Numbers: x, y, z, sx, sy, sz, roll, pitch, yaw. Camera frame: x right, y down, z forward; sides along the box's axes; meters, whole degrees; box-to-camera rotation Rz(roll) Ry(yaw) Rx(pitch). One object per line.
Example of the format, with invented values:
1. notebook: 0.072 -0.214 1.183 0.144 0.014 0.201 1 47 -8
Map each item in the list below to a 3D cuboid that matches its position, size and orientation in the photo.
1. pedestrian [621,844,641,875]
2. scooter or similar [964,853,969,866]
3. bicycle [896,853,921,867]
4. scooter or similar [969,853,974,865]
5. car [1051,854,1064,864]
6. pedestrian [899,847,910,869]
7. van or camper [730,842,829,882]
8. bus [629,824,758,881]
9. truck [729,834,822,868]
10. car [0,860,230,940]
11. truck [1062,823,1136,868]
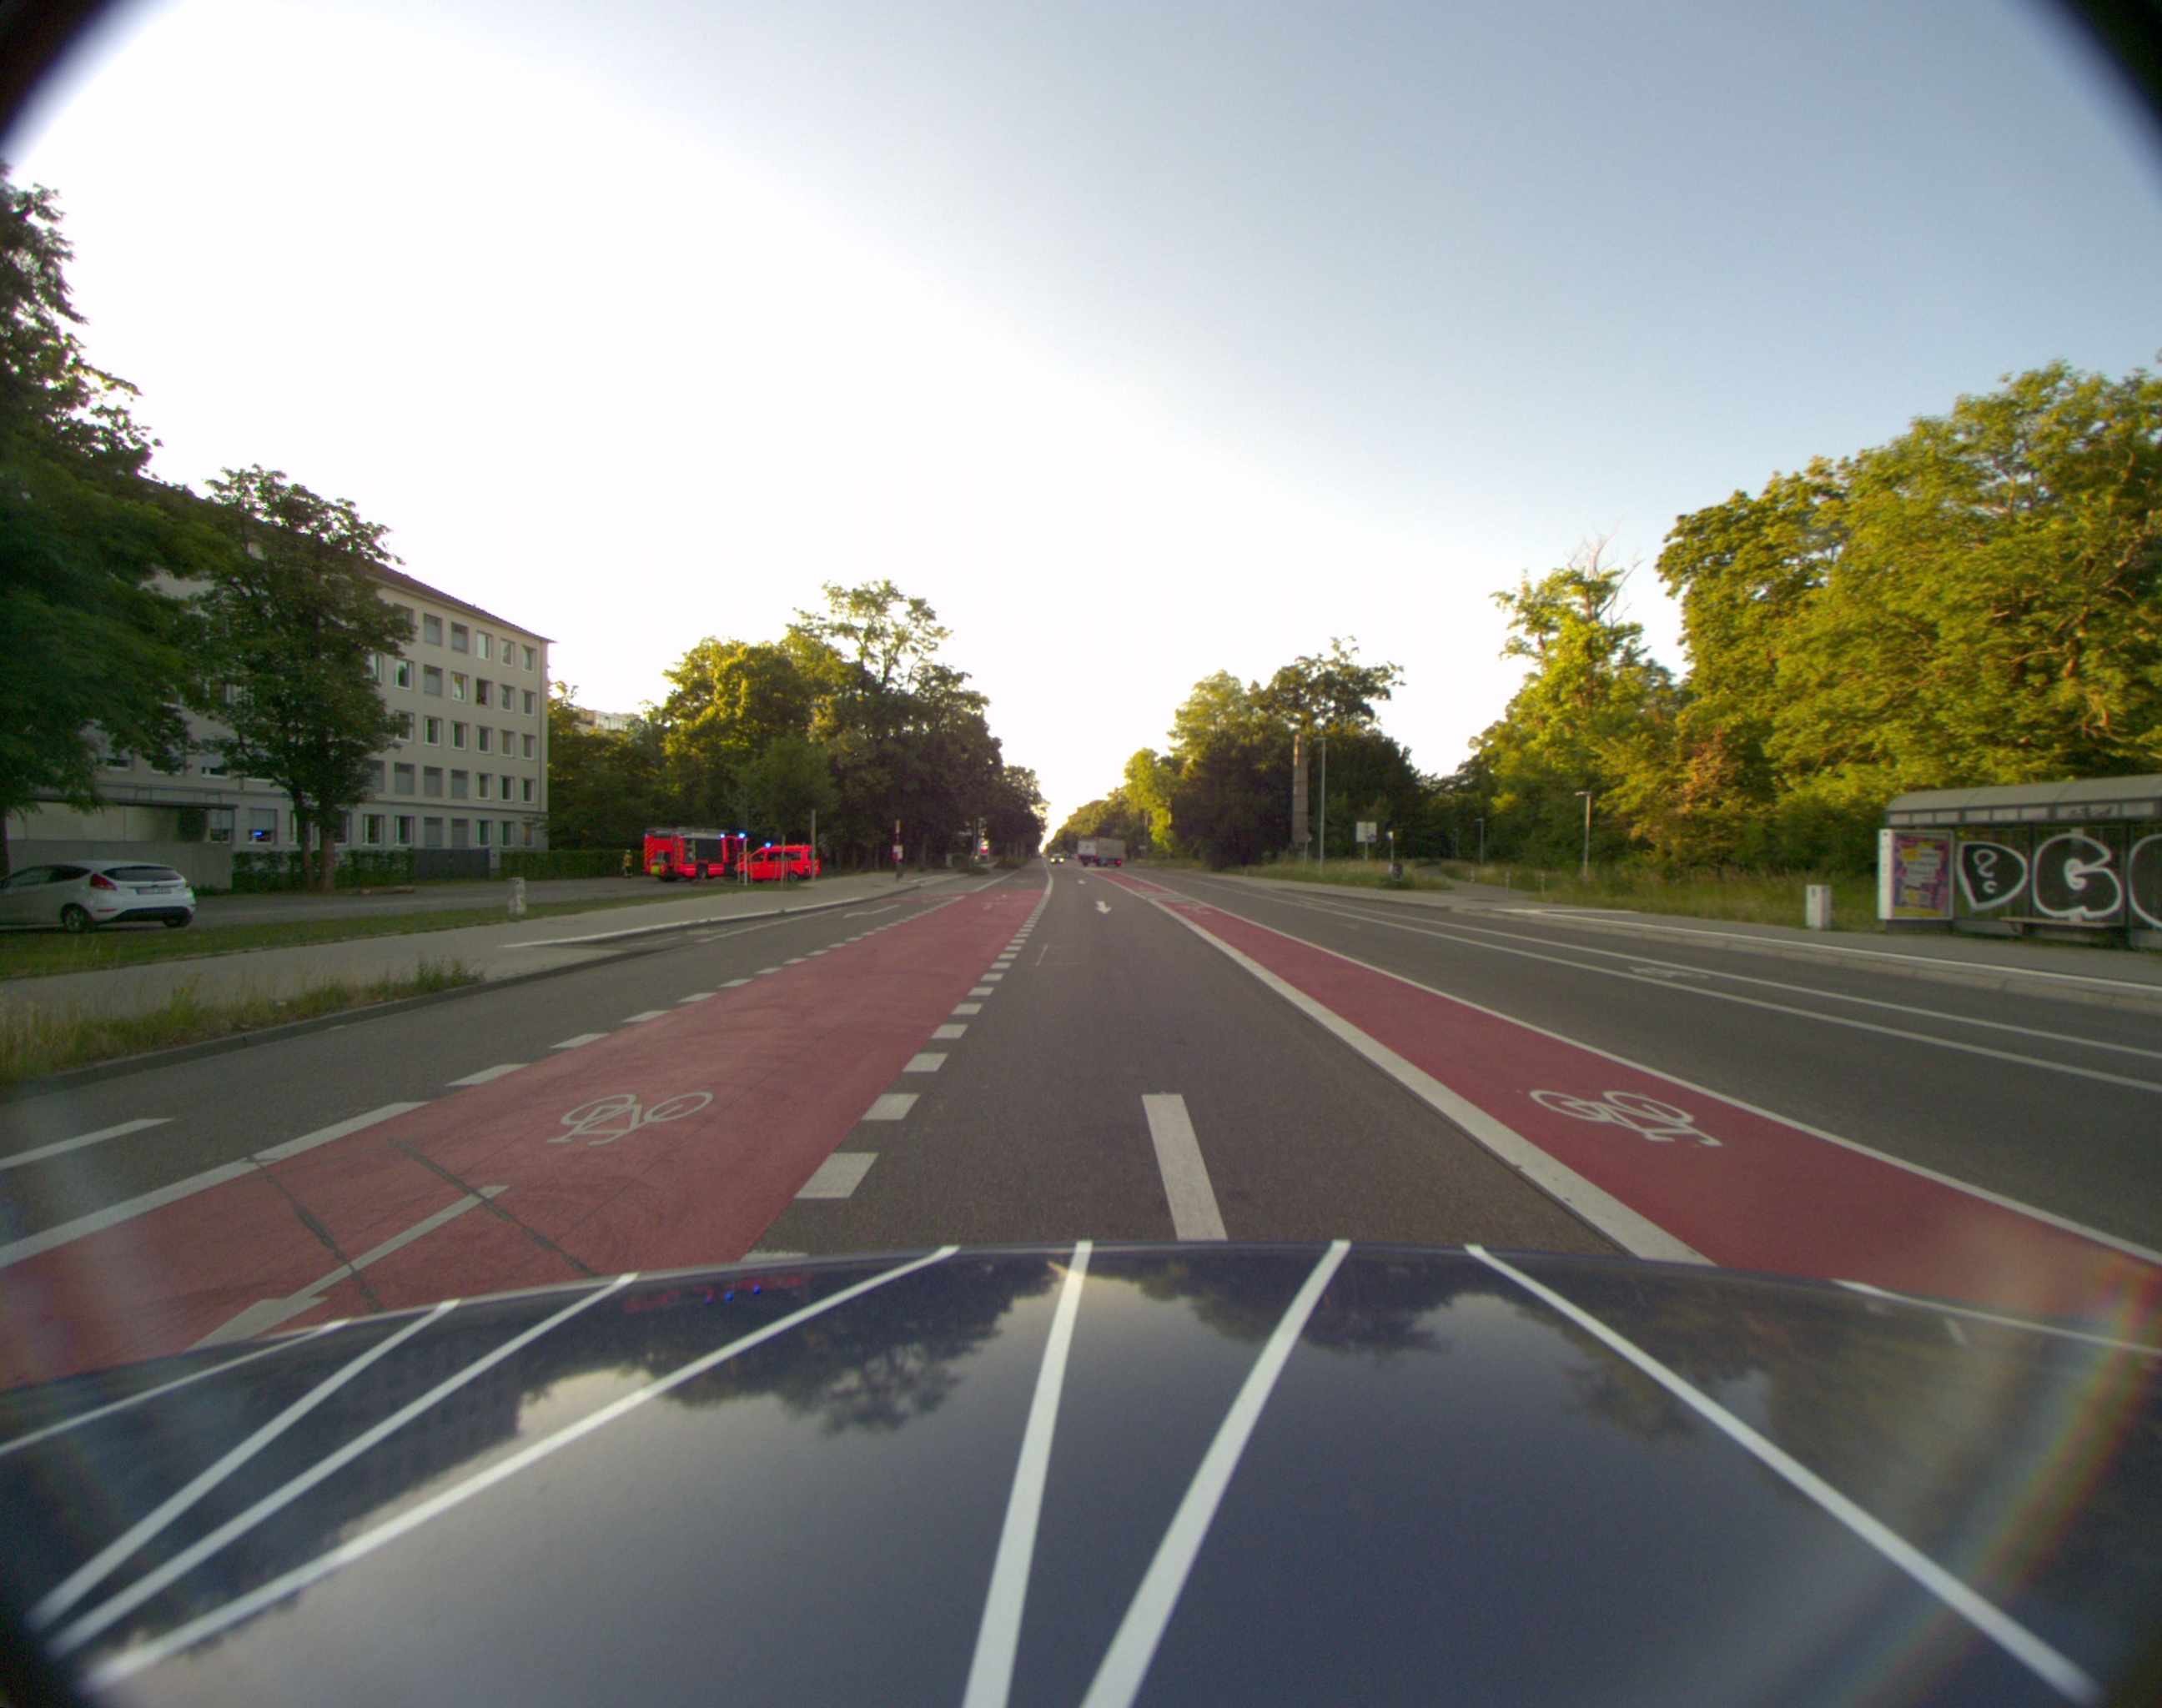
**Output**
1. pedestrian: -29.400 0.373 49.638 0.772 2.002 0.826 0 1 9
2. scooter or similar: -12.200 0.580 81.143 0.483 1.274 1.230 2 0 -8
3. bicycle: -15.911 0.552 70.066 1.963 1.091 0.835 6 -1 21
4. scooter or similar: -11.961 0.581 83.152 0.483 1.274 1.139 2 0 -8
5. car: -3.759 0.792 123.077 1.998 1.608 4.000 0 0 1
6. pedestrian: -16.115 0.366 69.460 0.693 2.002 0.727 1 1 26
7. van or camper: -17.728 0.487 44.812 4.822 2.231 2.296 -1 0 8
8. bus: -23.692 -0.119 47.069 2.993 3.177 7.968 -1 1 8
9. truck: -29.828 -0.266 74.151 8.645 3.192 2.765 0 0 17
10. car: -20.914 0.927 16.002 3.996 1.528 1.912 -1 1 4
11. truck: 2.721 -1.112 103.378 5.147 5.542 15.108 0 0 22
